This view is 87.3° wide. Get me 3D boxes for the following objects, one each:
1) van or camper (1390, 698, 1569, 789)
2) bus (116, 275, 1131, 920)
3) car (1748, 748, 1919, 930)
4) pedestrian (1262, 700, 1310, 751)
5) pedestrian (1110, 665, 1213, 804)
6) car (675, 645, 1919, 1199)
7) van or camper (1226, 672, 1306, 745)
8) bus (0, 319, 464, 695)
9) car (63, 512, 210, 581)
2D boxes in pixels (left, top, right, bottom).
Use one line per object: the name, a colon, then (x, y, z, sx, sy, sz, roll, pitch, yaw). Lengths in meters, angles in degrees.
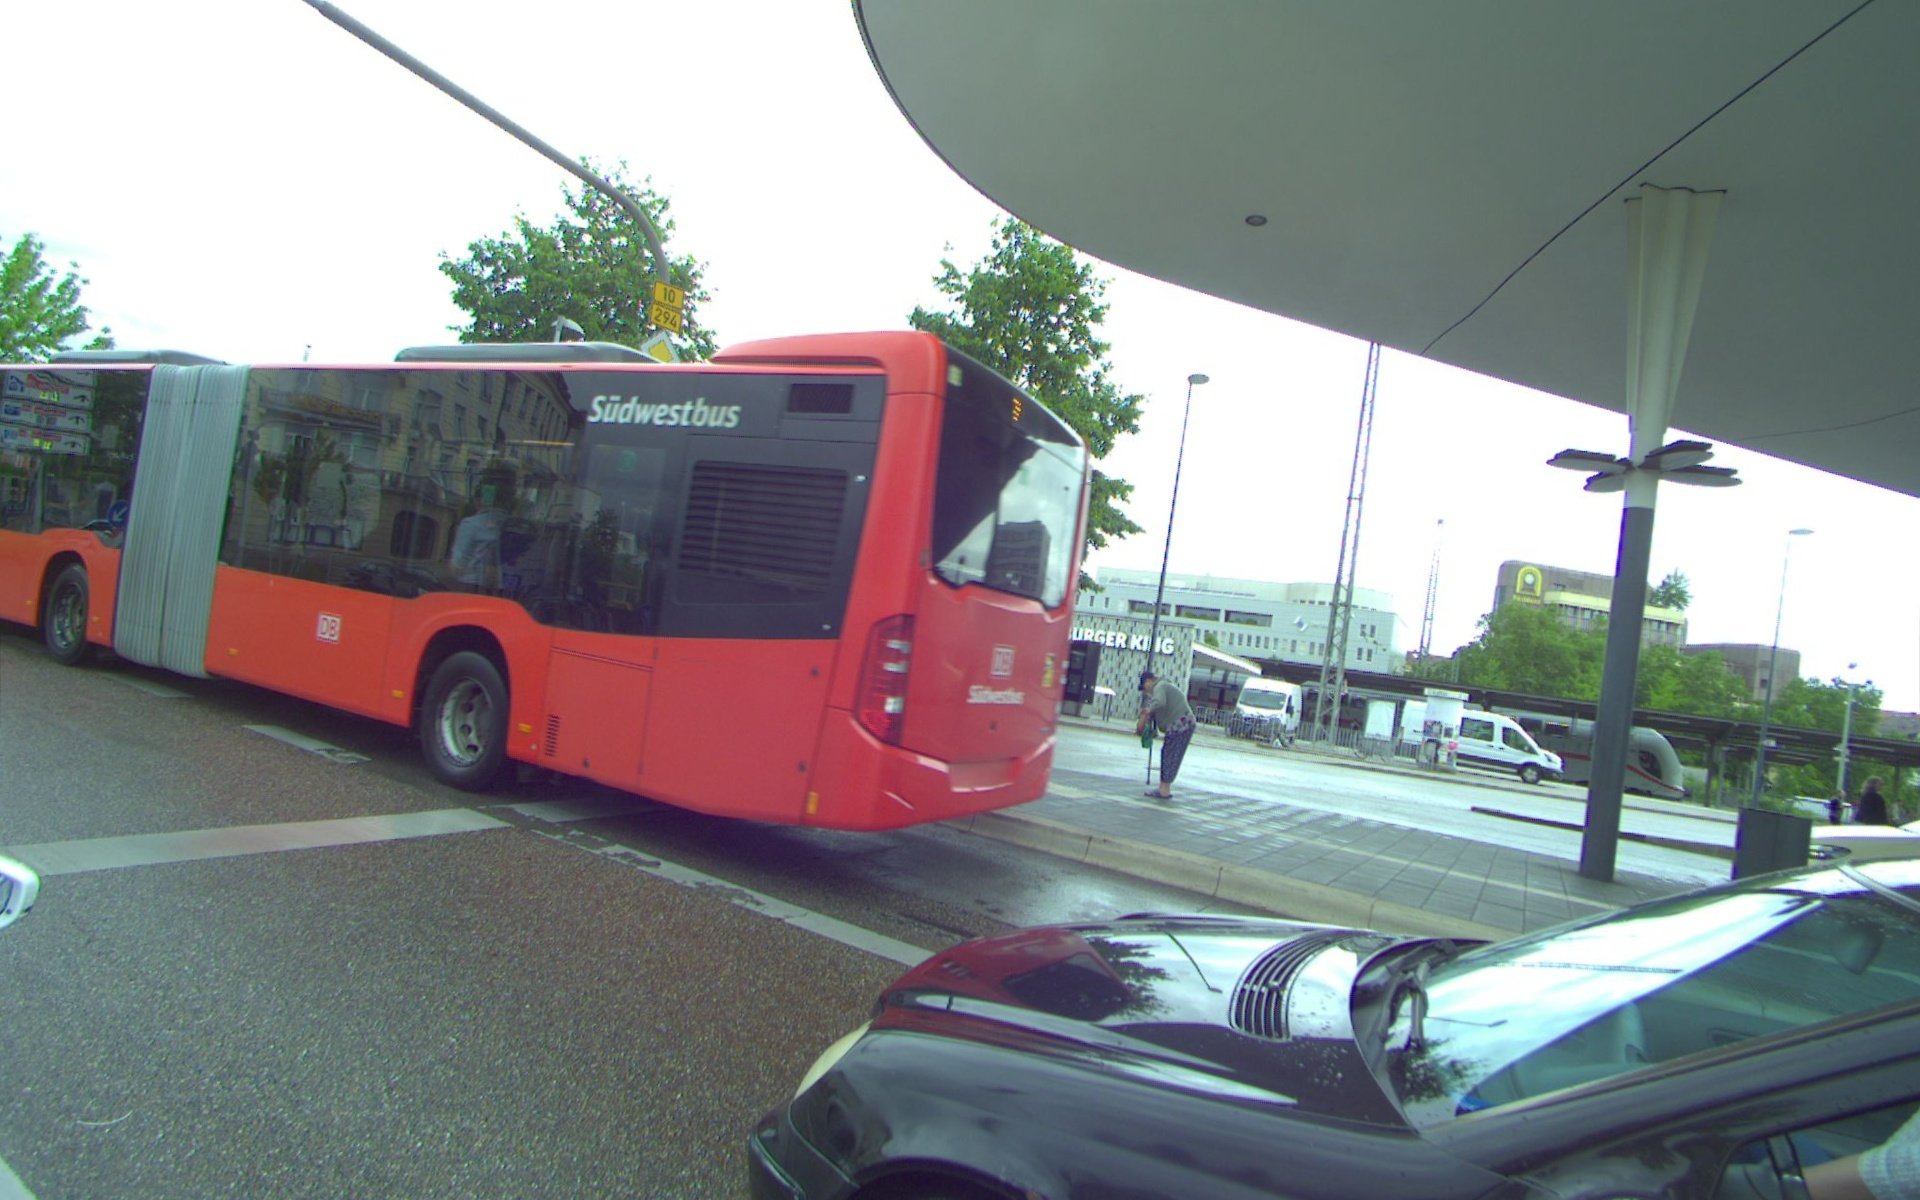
van or camper: (20.353, 5.550, 39.532, 5.873, 2.491, 2.108, 7, -2, 32)
bus: (-3.059, -0.289, 8.101, 7.980, 3.210, 2.750, 7, -2, 29)
car: (11.246, 2.794, 10.553, 4.360, 1.665, 1.807, 7, -5, 32)
pedestrian: (11.216, 4.314, 34.617, 0.910, 1.552, 1.096, 9, -2, -36)
pedestrian: (2.236, 1.476, 11.123, 0.753, 1.374, 0.738, 7, -3, 31)
car: (1.792, 1.140, 1.471, 4.363, 1.493, 1.753, 5, -7, 32)
van or camper: (12.554, 4.415, 41.001, 2.072, 2.491, 5.975, 7, -3, 25)
bus: (-10.700, -1.212, 12.169, 10.017, 3.210, 2.751, 7, -2, 28)
car: (-25.824, -1.692, 31.516, 4.662, 1.542, 1.918, 7, -2, 30)
